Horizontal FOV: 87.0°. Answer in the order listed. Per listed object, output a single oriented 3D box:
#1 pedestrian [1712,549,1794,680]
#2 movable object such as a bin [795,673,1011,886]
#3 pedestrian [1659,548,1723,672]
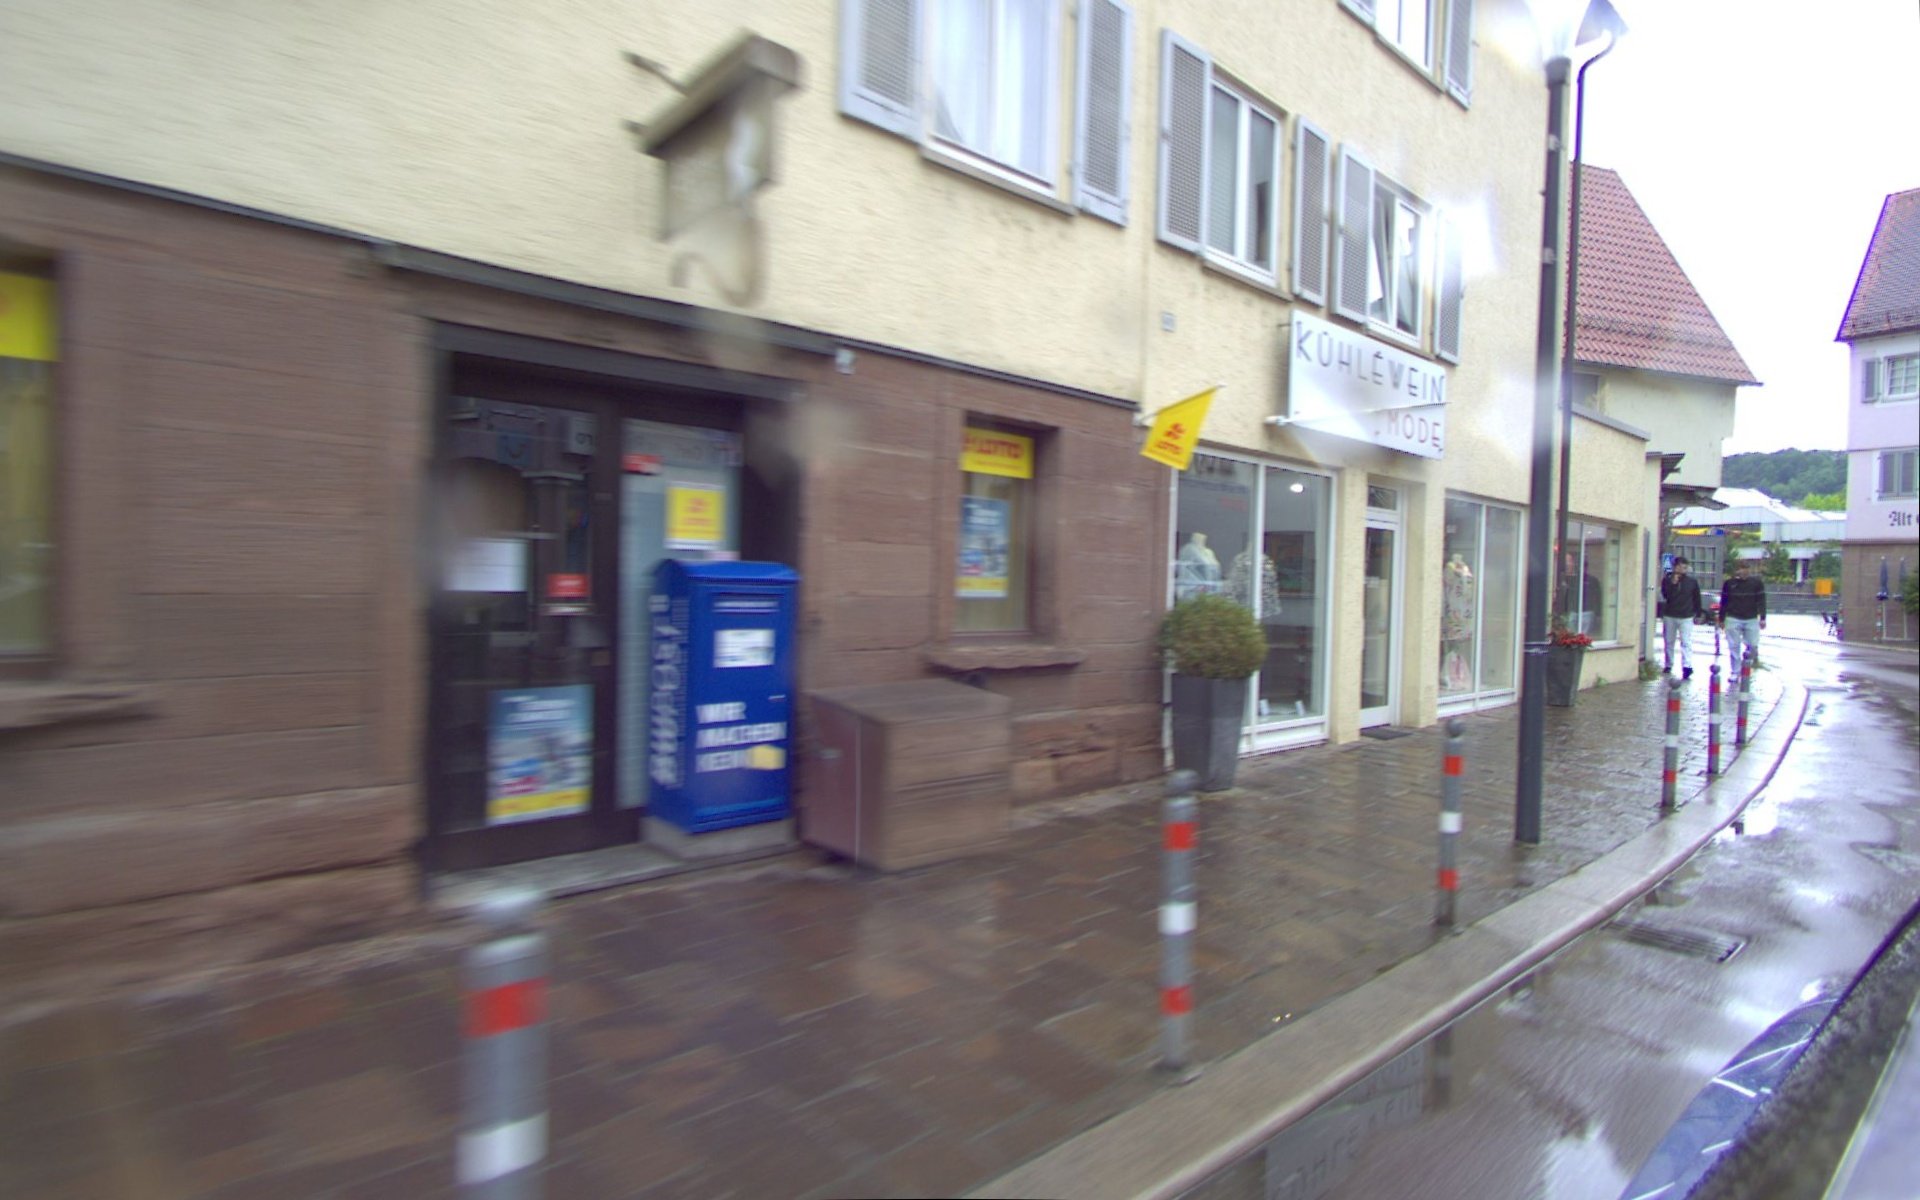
[{"bbox_3d":[12.245,0.197,15.663,0.768,1.927,0.797,4,3,29],"label":"pedestrian"},{"bbox_3d":[-0.275,0.839,5.018,0.894,0.846,0.547,0,3,-40],"label":"movable object such as a bin"},{"bbox_3d":[11.790,0.134,16.340,0.650,1.925,0.652,4,3,29],"label":"pedestrian"}]
